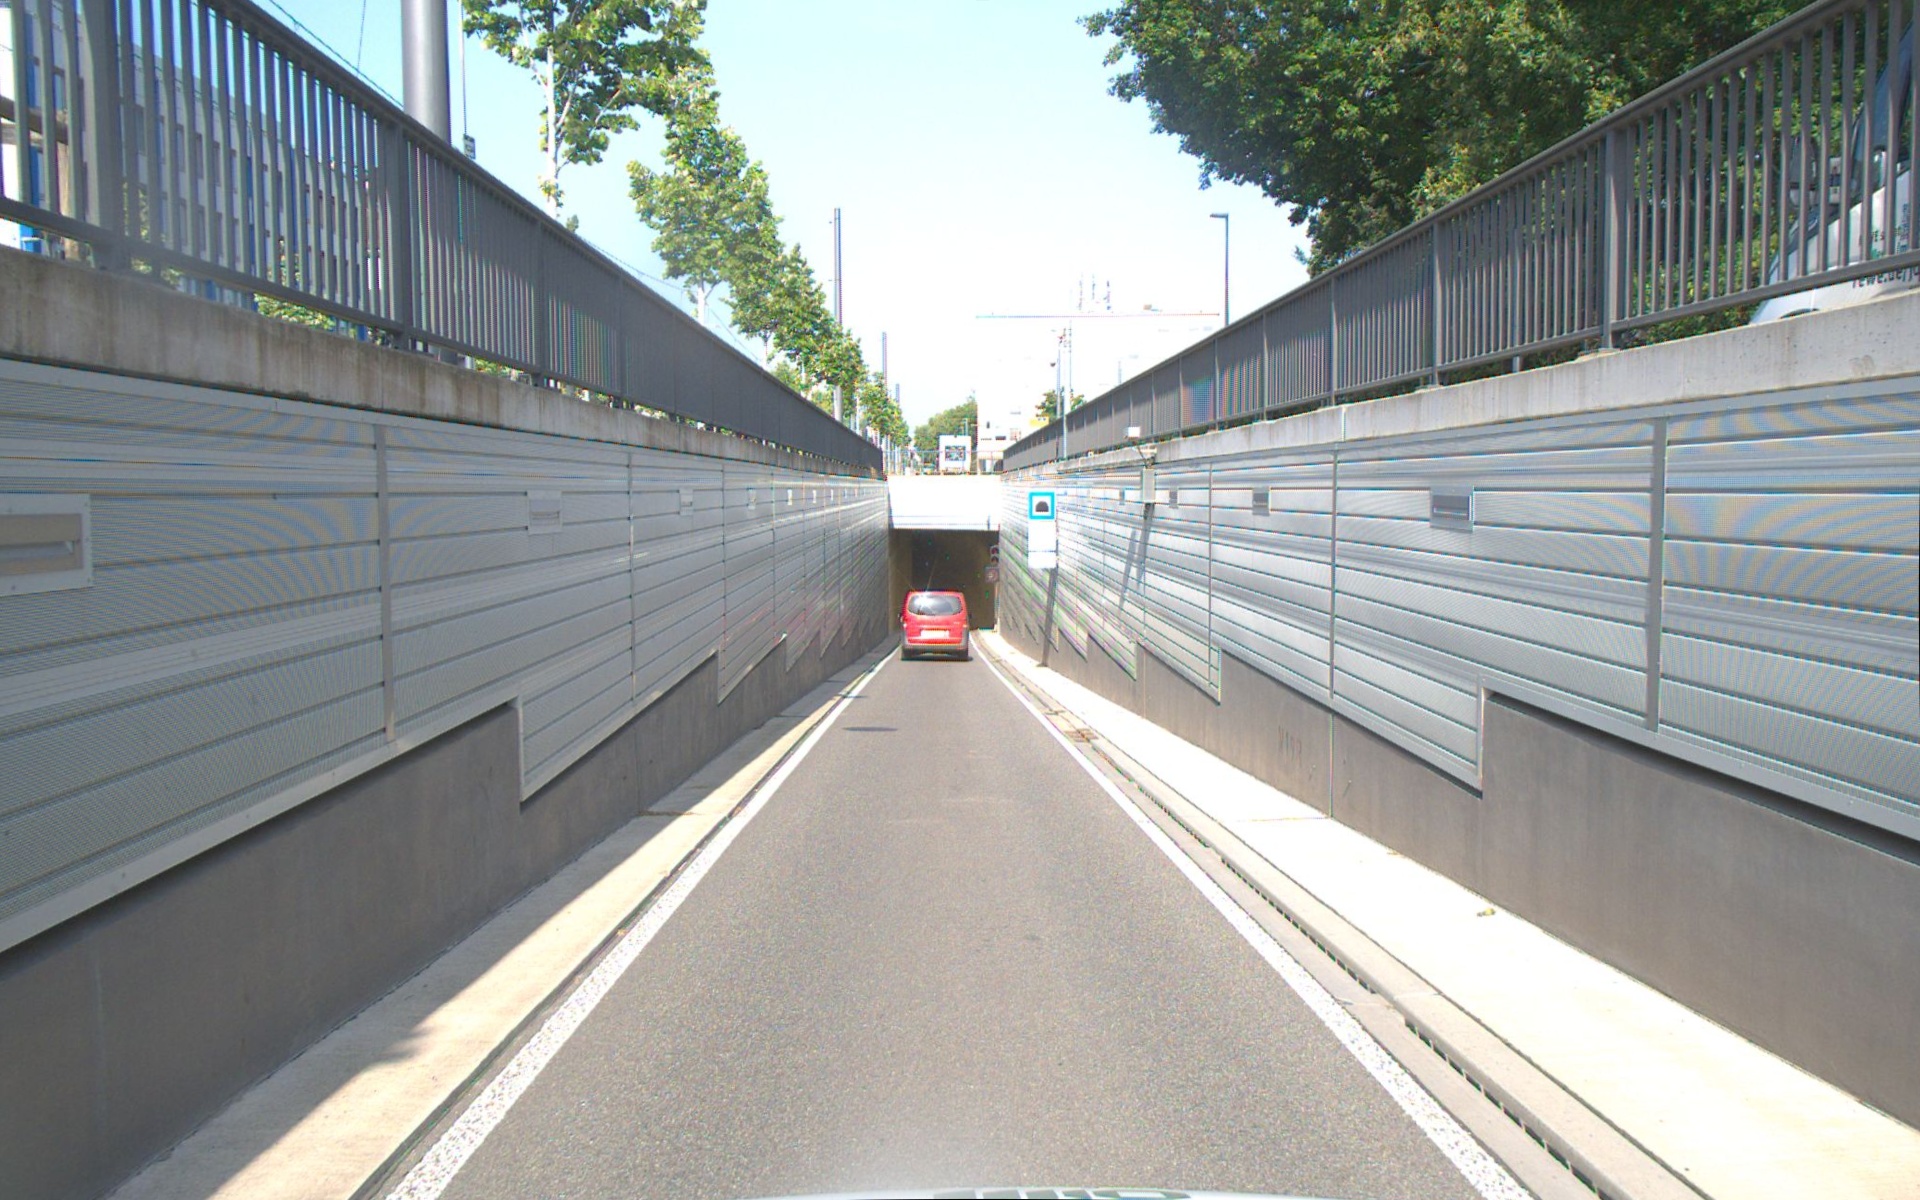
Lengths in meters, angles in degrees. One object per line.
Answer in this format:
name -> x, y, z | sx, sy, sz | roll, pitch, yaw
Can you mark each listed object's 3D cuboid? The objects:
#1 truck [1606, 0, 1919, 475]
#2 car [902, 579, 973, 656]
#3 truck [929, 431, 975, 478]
truck -> 5.117, -2.076, 5.883 | 2.451, 3.113, 7.823 | 2, 4, 0
car -> -0.640, 0.445, 46.175 | 1.862, 1.891, 4.000 | 1, 2, -1
truck -> -0.745, -12.283, 140.277 | 3.323, 3.789, 10.450 | -1, 4, -3
